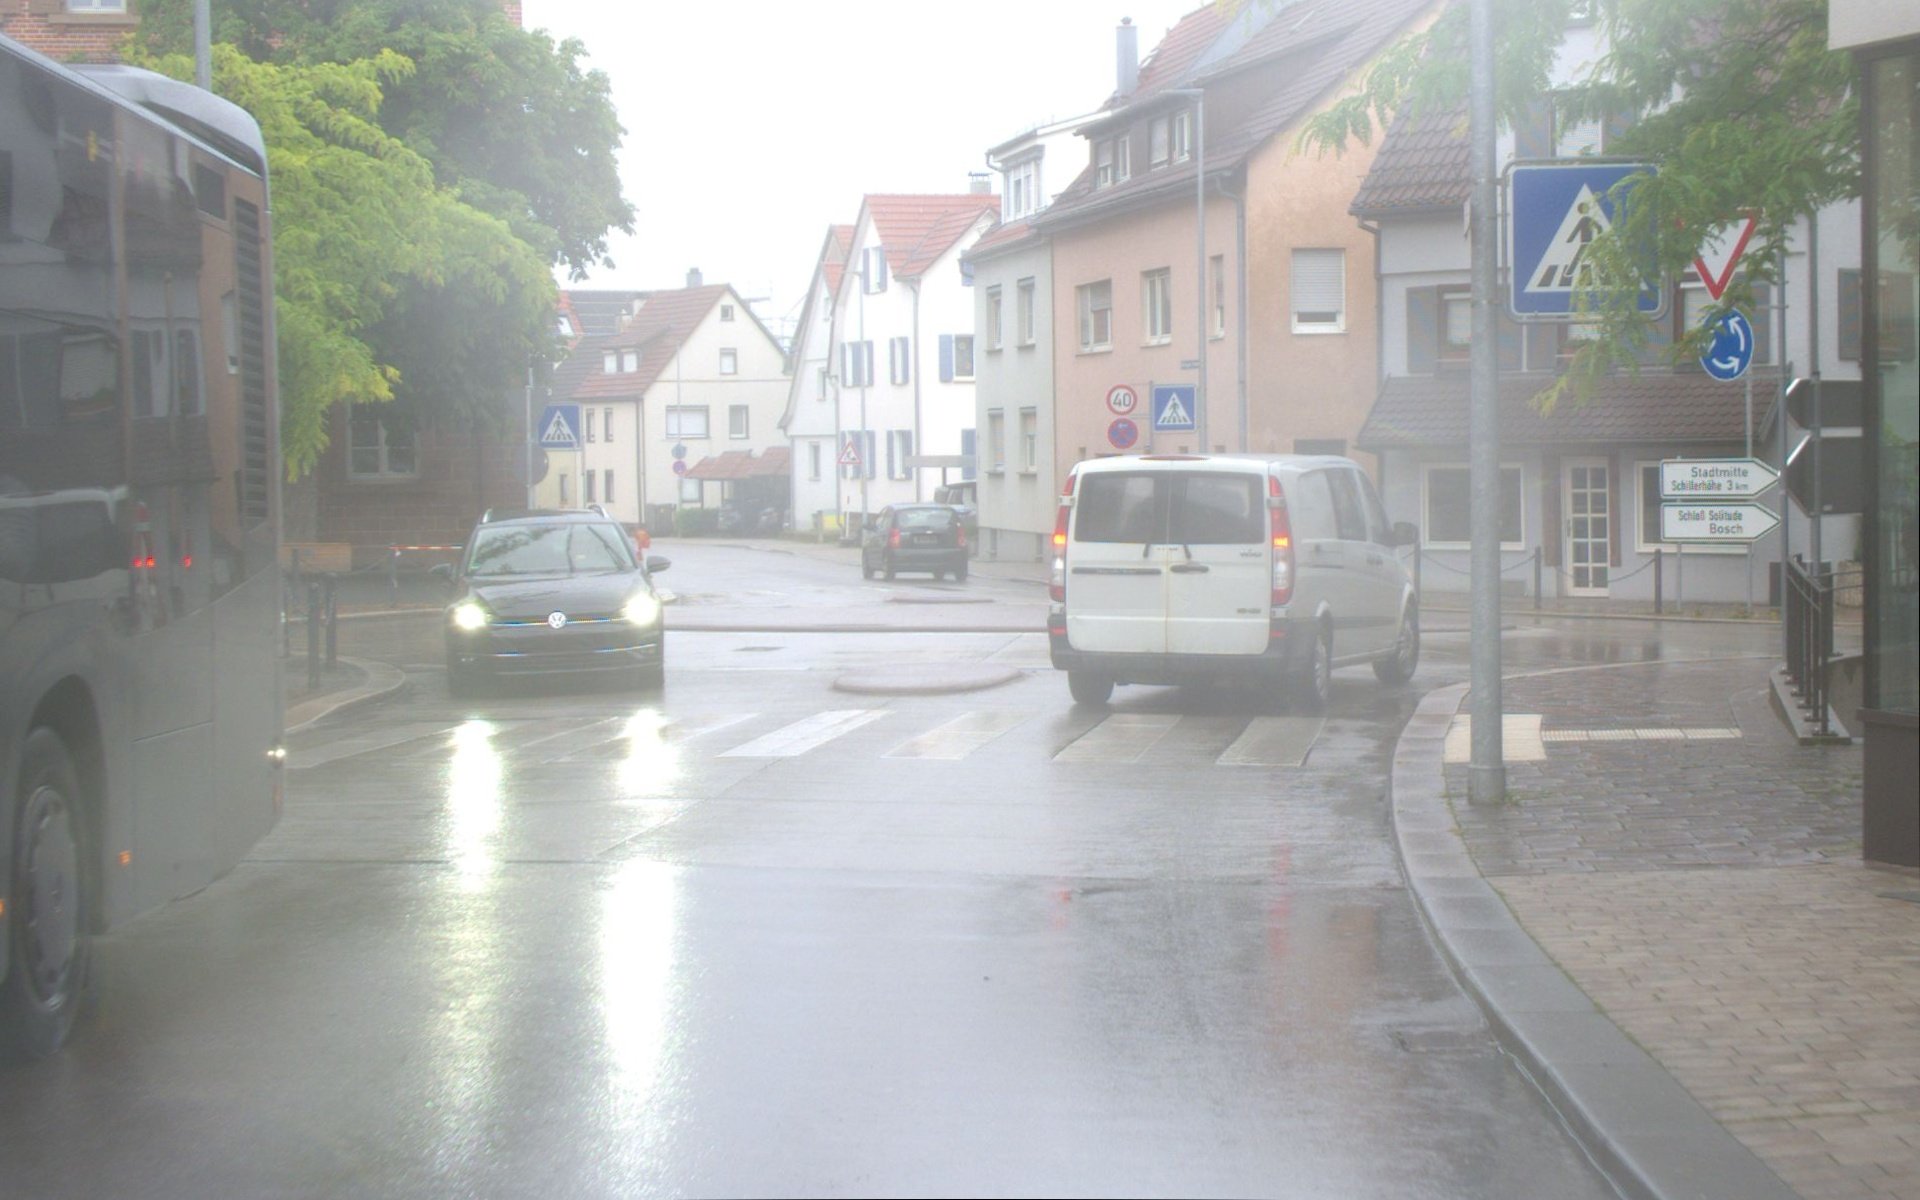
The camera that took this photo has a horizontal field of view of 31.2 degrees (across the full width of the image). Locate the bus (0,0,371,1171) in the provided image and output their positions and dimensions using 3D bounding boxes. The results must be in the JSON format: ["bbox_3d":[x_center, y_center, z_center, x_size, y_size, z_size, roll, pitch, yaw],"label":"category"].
[{"bbox_3d":[-3.619,-0.180,7.599,2.723,3.069,10.947,0,2,0],"label":"bus"}]

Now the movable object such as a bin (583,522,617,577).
[{"bbox_3d":[-7.795,-1.089,74.469,0.626,1.169,0.762,1,1,-13],"label":"movable object such as a bin"}]

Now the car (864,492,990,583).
[{"bbox_3d":[-0.660,-1.175,65.231,1.972,1.674,4.069,0,1,-6],"label":"car"}]

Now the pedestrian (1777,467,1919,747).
[{"bbox_3d":[5.246,0.031,20.256,0.582,1.600,0.704,-2,1,-7],"label":"pedestrian"}]

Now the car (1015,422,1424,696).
[{"bbox_3d":[2.111,-0.314,26.367,2.154,1.892,4.921,0,1,16],"label":"car"}]

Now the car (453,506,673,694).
[{"bbox_3d":[-3.300,-0.062,29.230,1.665,1.425,4.470,0,2,-4],"label":"car"}]
